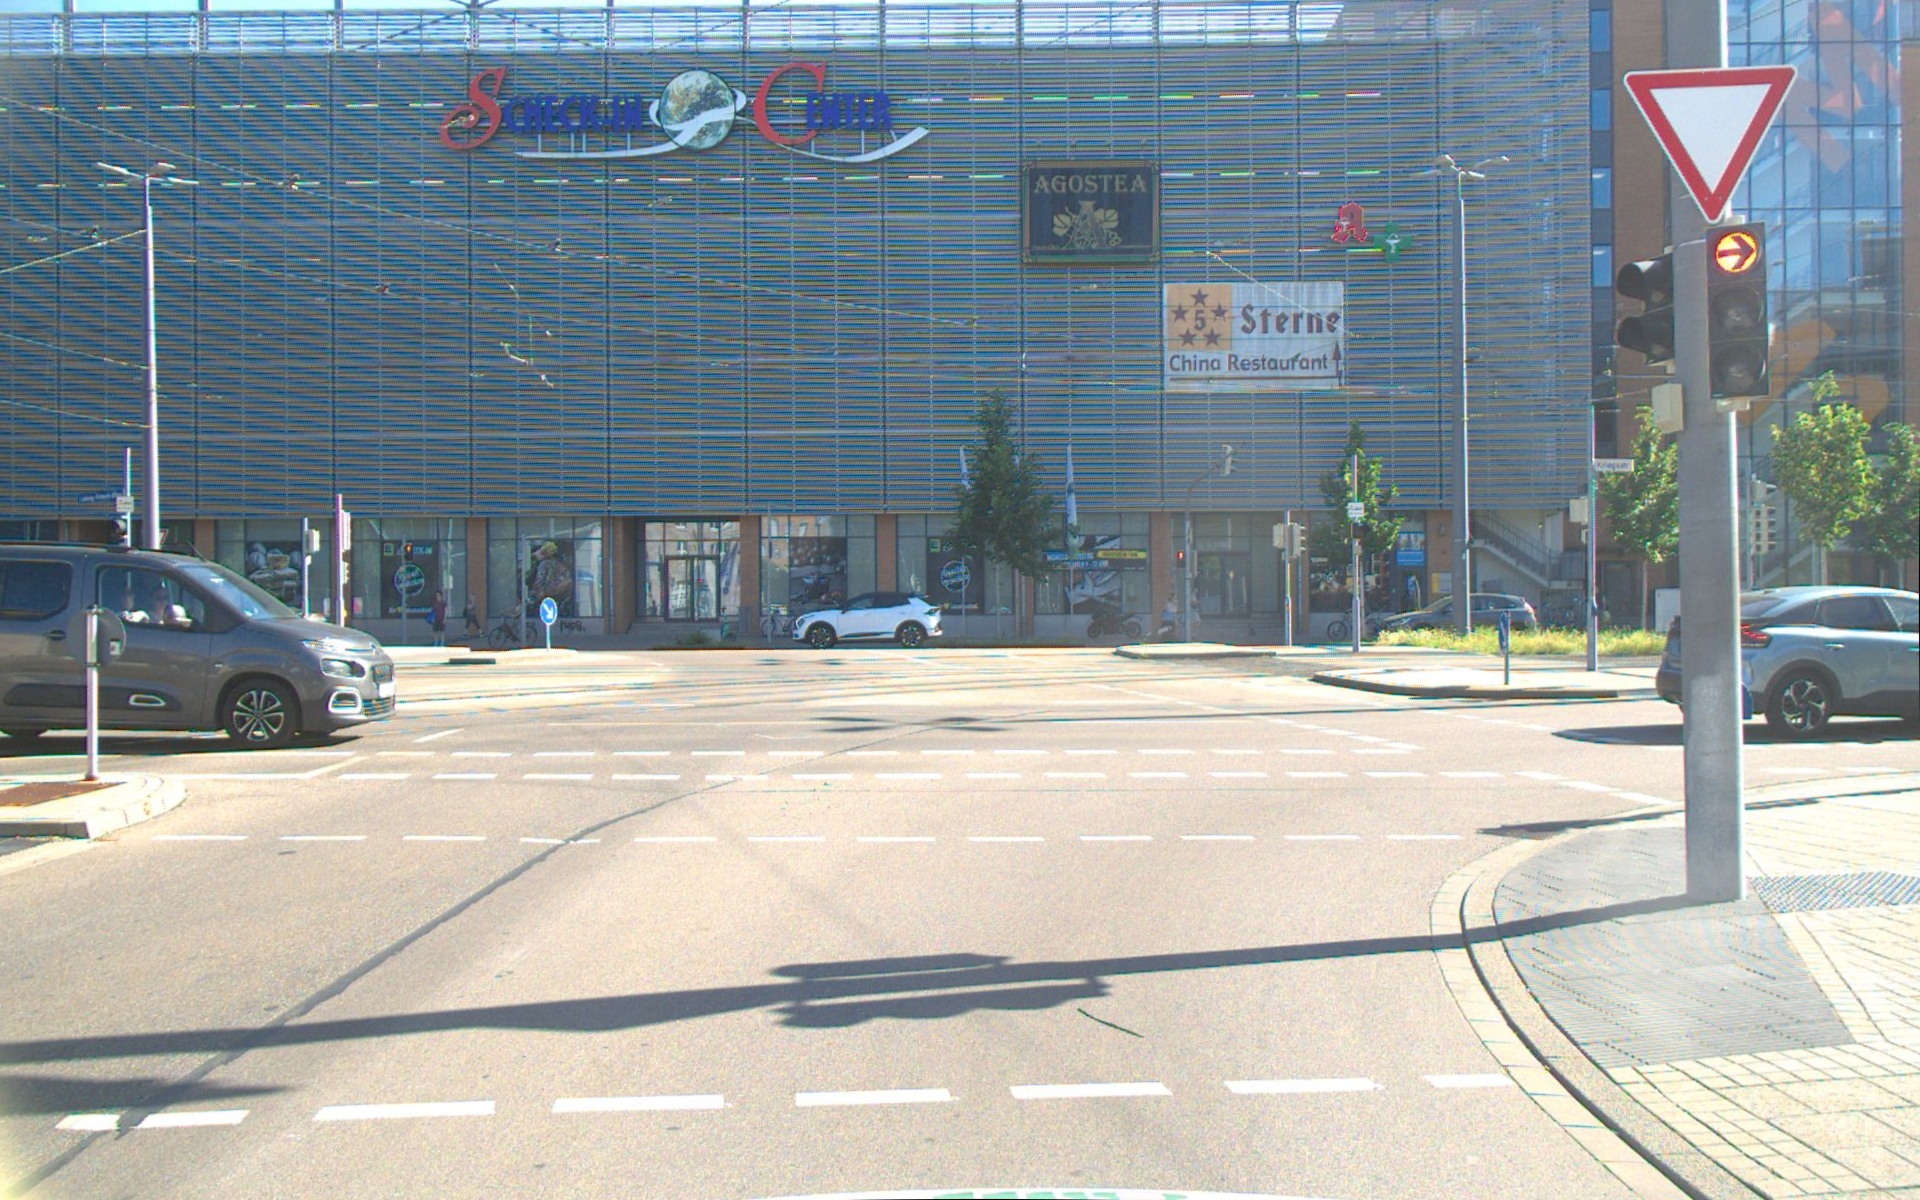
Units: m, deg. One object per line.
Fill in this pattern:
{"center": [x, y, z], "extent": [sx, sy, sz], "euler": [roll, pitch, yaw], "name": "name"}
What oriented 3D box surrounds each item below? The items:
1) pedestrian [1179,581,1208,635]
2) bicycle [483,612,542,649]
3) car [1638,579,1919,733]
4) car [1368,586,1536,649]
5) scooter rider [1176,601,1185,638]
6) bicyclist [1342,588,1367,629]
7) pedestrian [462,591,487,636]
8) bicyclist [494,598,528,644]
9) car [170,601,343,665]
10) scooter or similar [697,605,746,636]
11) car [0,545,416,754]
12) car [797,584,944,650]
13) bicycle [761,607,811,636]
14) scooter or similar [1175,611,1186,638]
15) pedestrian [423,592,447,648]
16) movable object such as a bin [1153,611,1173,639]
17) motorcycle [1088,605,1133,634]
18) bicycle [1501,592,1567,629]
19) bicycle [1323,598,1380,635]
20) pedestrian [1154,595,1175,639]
{"center": [8.429, 0.303, 59.620], "extent": [0.930, 1.860, 0.846], "euler": [-2, -4, 5], "name": "pedestrian"}
{"center": [-14.772, 1.001, 54.612], "extent": [0.559, 1.105, 1.852], "euler": [0, 2, 42], "name": "bicycle"}
{"center": [9.706, 0.579, 17.829], "extent": [4.186, 1.540, 1.705], "euler": [1, 0, -10], "name": "car"}
{"center": [13.666, 0.492, 46.041], "extent": [4.063, 1.495, 1.840], "euler": [3, -1, -2], "name": "car"}
{"center": [7.356, 0.662, 55.125], "extent": [0.282, 1.221, 0.386], "euler": [1, -1, 10], "name": "scooter rider"}
{"center": [13.733, 0.288, 57.584], "extent": [0.738, 1.410, 0.565], "euler": [-1, 1, -1], "name": "bicyclist"}
{"center": [-17.993, 0.494, 61.272], "extent": [0.646, 1.629, 0.594], "euler": [1, -1, 18], "name": "pedestrian"}
{"center": [-14.804, 0.685, 54.537], "extent": [0.663, 1.452, 0.844], "euler": [0, 2, 42], "name": "bicyclist"}
{"center": [-20.642, 0.969, 48.669], "extent": [4.203, 1.611, 1.840], "euler": [3, -1, -2], "name": "car"}
{"center": [-8.751, 0.742, 60.773], "extent": [1.759, 1.085, 0.611], "euler": [0, 1, -9], "name": "scooter or similar"}
{"center": [-7.511, 0.420, 15.375], "extent": [4.372, 1.823, 1.707], "euler": [0, 0, -6], "name": "car"}
{"center": [-2.607, 0.502, 48.748], "extent": [4.238, 1.895, 1.840], "euler": [0, -1, -2], "name": "car"}
{"center": [-6.370, 0.773, 60.426], "extent": [1.783, 1.006, 0.556], "euler": [0, 1, -11], "name": "bicycle"}
{"center": [7.362, 0.829, 55.185], "extent": [0.288, 0.888, 1.004], "euler": [1, 0, 10], "name": "scooter or similar"}
{"center": [-17.343, 0.657, 54.661], "extent": [0.683, 1.829, 0.727], "euler": [-2, 0, -17], "name": "pedestrian"}
{"center": [6.737, 0.827, 54.892], "extent": [0.599, 0.920, 0.970], "euler": [1, 0, 10], "name": "movable object such as a bin"}
{"center": [5.524, 0.723, 60.702], "extent": [1.605, 1.022, 0.447], "euler": [1, 0, 6], "name": "motorcycle"}
{"center": [21.284, 0.386, 61.347], "extent": [2.209, 1.318, 0.605], "euler": [1, -1, -2], "name": "bicycle"}
{"center": [13.630, 0.571, 57.595], "extent": [1.819, 1.238, 0.569], "euler": [-1, 1, -2], "name": "bicycle"}
{"center": [6.852, 0.573, 55.358], "extent": [0.641, 1.438, 0.850], "euler": [1, 0, 10], "name": "pedestrian"}
